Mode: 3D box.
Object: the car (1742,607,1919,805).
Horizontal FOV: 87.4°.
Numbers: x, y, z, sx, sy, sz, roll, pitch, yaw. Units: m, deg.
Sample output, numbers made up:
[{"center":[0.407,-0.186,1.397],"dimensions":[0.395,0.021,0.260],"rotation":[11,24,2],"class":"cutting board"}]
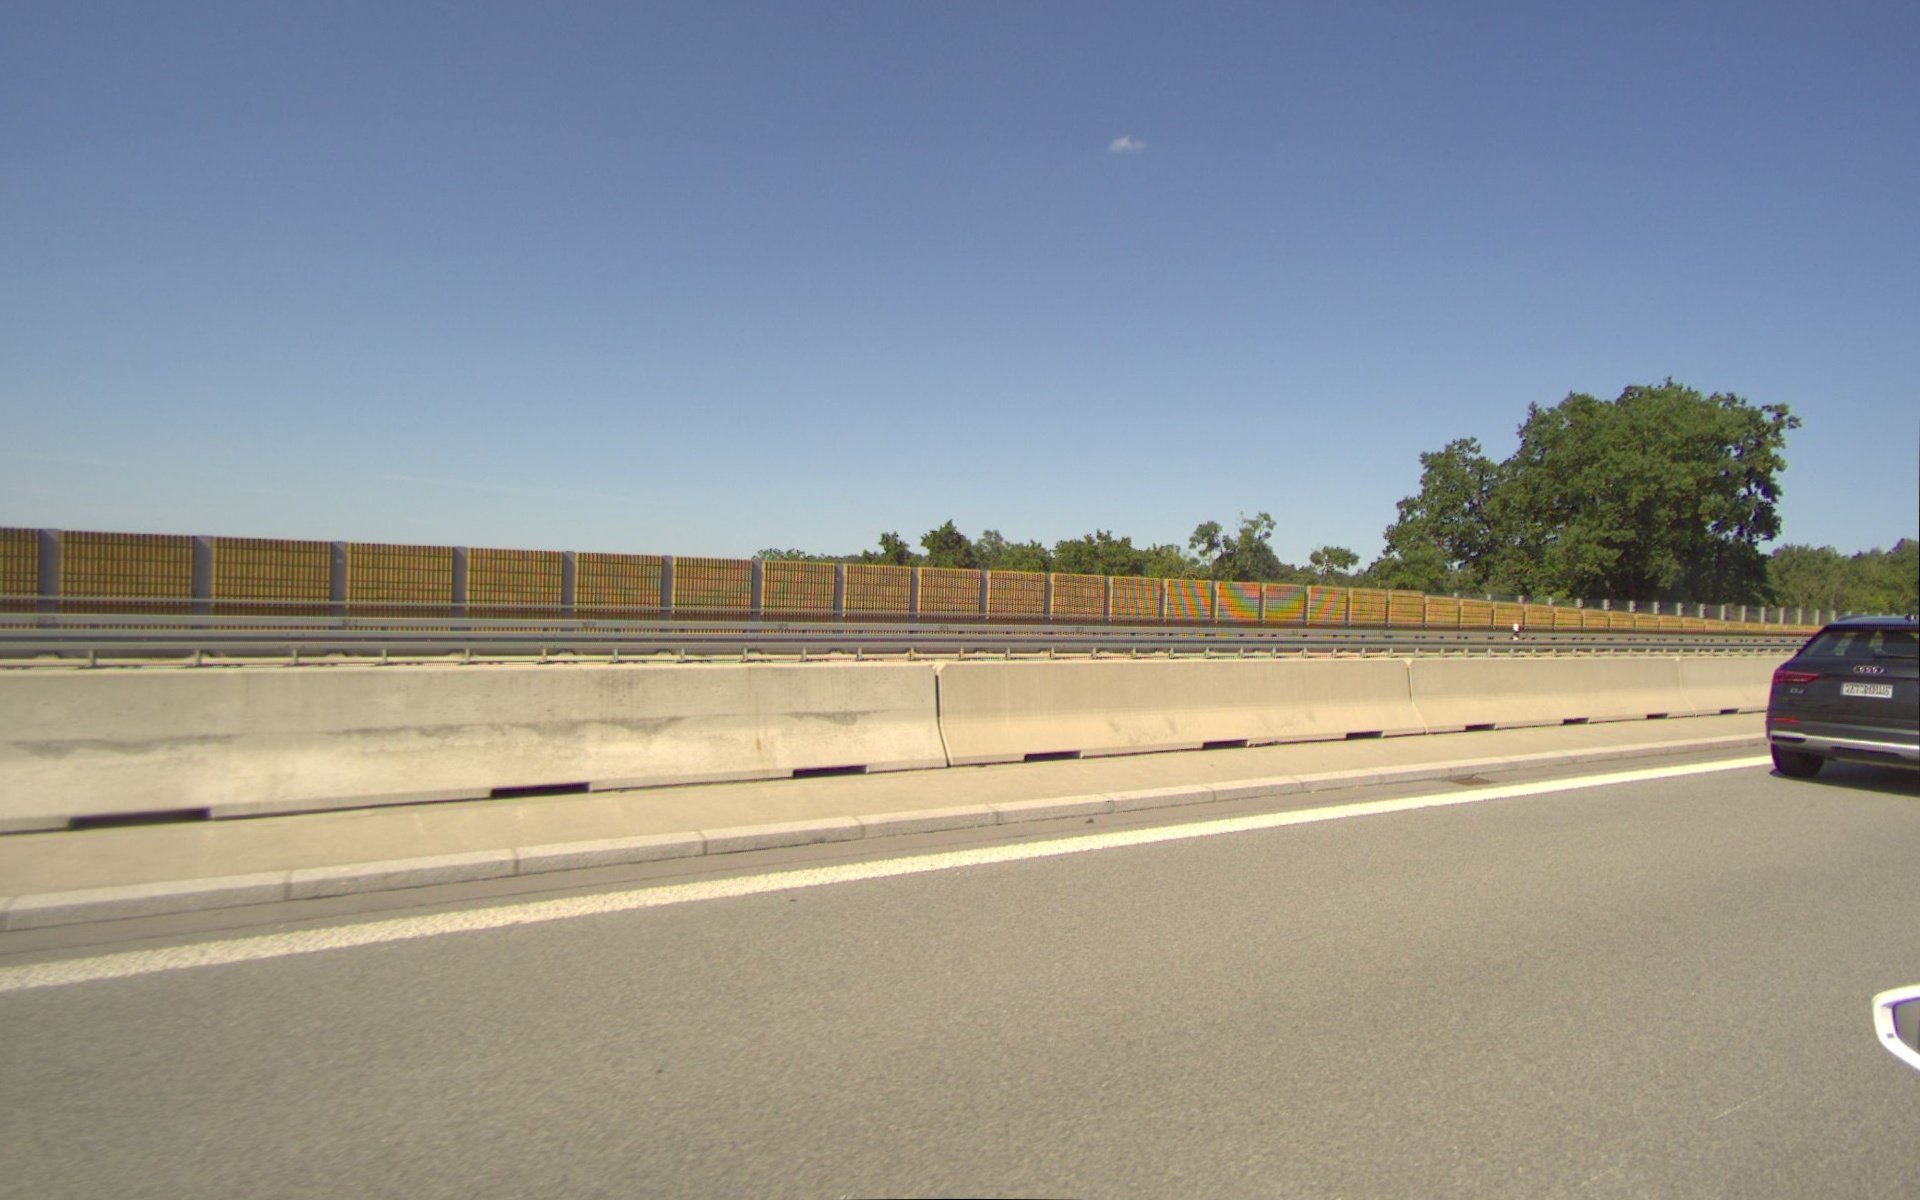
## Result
[{"center":[9.928,0.936,9.874],"dimensions":[5.160,1.609,1.714],"rotation":[2,0,-30],"class":"car"}]
